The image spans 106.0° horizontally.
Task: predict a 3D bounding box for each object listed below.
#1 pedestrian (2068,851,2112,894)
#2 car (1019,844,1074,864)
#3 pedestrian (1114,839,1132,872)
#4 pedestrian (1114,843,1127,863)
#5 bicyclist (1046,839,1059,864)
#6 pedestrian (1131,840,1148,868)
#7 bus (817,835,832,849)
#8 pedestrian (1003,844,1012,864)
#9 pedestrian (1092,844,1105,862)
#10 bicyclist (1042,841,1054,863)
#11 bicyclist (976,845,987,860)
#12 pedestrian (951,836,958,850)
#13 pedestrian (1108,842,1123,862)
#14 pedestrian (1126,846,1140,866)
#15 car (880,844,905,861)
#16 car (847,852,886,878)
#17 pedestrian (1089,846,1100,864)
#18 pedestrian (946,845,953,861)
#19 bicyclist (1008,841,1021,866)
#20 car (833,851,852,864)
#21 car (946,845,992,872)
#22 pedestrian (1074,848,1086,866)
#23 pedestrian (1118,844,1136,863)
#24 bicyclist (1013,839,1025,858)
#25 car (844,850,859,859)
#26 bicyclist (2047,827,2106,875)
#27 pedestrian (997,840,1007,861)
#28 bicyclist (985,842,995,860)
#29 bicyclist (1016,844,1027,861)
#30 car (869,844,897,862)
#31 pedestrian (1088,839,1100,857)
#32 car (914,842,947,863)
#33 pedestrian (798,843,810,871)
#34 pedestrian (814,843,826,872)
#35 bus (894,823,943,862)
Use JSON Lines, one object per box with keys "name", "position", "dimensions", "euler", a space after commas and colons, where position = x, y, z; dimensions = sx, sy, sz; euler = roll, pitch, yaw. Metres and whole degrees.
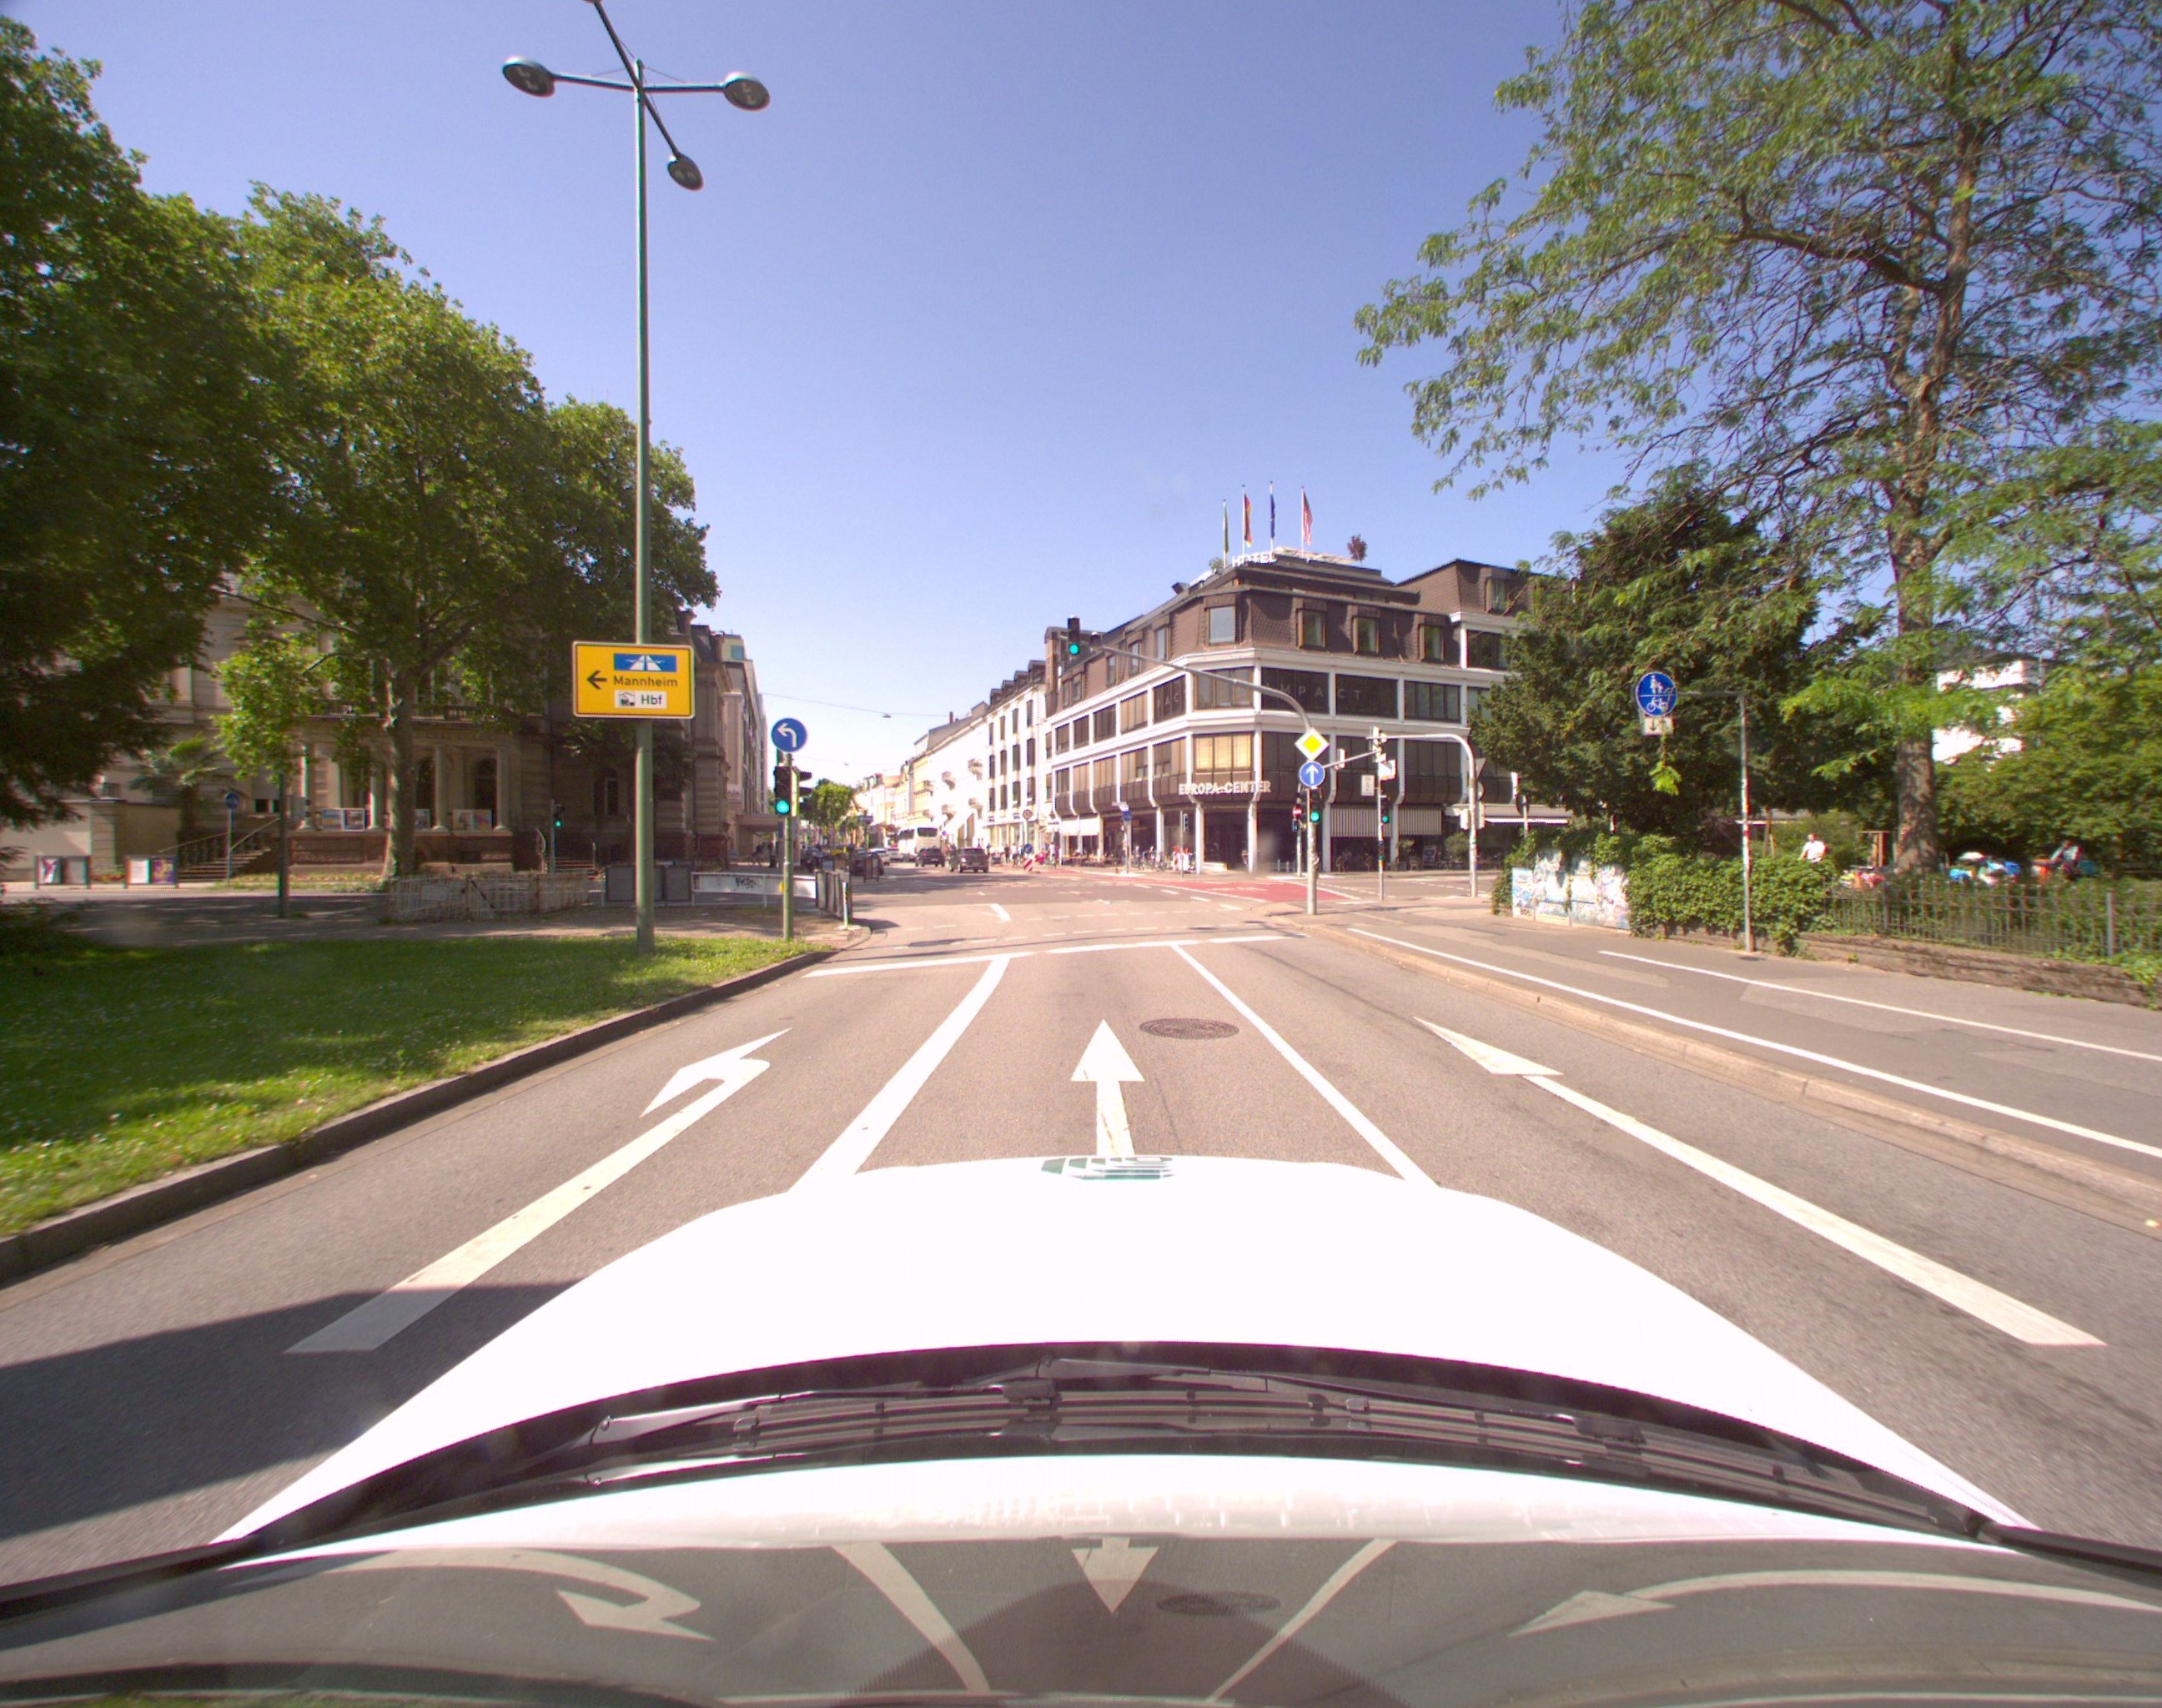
{"name": "pedestrian", "position": [30.483, 0.553, 24.617], "dimensions": [0.452, 1.270, 0.713], "euler": [0, 0, -9]}
{"name": "car", "position": [-2.789, 0.005, 65.471], "dimensions": [4.057, 1.495, 1.829], "euler": [-1, -1, -19]}
{"name": "pedestrian", "position": [2.368, 0.088, 46.279], "dimensions": [0.833, 1.835, 0.694], "euler": [-1, 0, -12]}
{"name": "pedestrian", "position": [2.834, -0.081, 58.165], "dimensions": [0.714, 1.396, 0.691], "euler": [-1, -1, -22]}
{"name": "bicyclist", "position": [-1.878, -0.145, 54.047], "dimensions": [0.695, 1.625, 0.832], "euler": [-1, 0, -12]}
{"name": "pedestrian", "position": [3.568, 0.026, 49.303], "dimensions": [0.833, 1.663, 0.694], "euler": [-1, -1, -12]}
{"name": "bus", "position": [-69.597, -3.271, 220.982], "dimensions": [2.782, 3.604, 8.904], "euler": [-1, 1, -23]}
{"name": "pedestrian", "position": [-6.216, -0.004, 69.081], "dimensions": [0.622, 1.719, 0.830], "euler": [0, 0, -18]}
{"name": "pedestrian", "position": [1.321, -0.061, 62.604], "dimensions": [0.880, 1.367, 0.533], "euler": [-1, 0, -22]}
{"name": "bicyclist", "position": [-2.325, -0.137, 57.145], "dimensions": [0.622, 1.529, 0.863], "euler": [0, 0, -20]}
{"name": "bicyclist", "position": [-8.927, -0.134, 72.857], "dimensions": [0.790, 1.378, 0.717], "euler": [0, 0, -22]}
{"name": "pedestrian", "position": [-14.694, -1.269, 94.258], "dimensions": [0.647, 1.617, 0.817], "euler": [-1, -1, -18]}
{"name": "pedestrian", "position": [2.479, -0.143, 58.926], "dimensions": [0.816, 1.396, 0.691], "euler": [-1, -1, -23]}
{"name": "pedestrian", "position": [3.573, 0.128, 56.204], "dimensions": [0.714, 1.396, 0.691], "euler": [-1, -1, -22]}
{"name": "car", "position": [-18.665, -0.143, 80.598], "dimensions": [1.840, 1.527, 3.972], "euler": [-2, 0, -21]}
{"name": "car", "position": [-12.943, 0.624, 49.065], "dimensions": [1.943, 1.354, 4.222], "euler": [-1, 1, -19]}
{"name": "pedestrian", "position": [1.034, 0.098, 62.985], "dimensions": [0.764, 1.367, 0.475], "euler": [-1, 0, -22]}
{"name": "pedestrian", "position": [-15.026, -0.068, 93.092], "dimensions": [0.575, 1.778, 1.014], "euler": [-1, -1, -18]}
{"name": "bicyclist", "position": [-4.716, -0.037, 57.585], "dimensions": [0.696, 1.673, 0.910], "euler": [2, 1, -19]}
{"name": "car", "position": [-28.702, 0.439, 97.916], "dimensions": [1.870, 1.441, 3.971], "euler": [-1, -1, -21]}
{"name": "car", "position": [-6.803, 0.308, 49.208], "dimensions": [1.840, 1.527, 3.970], "euler": [1, -1, -22]}
{"name": "pedestrian", "position": [-0.060, 0.218, 57.565], "dimensions": [0.712, 1.217, 0.694], "euler": [-1, -1, -12]}
{"name": "pedestrian", "position": [3.220, -0.037, 57.093], "dimensions": [0.899, 1.351, 1.097], "euler": [-1, -1, -22]}
{"name": "bicyclist", "position": [-4.561, -0.411, 59.876], "dimensions": [0.623, 1.355, 0.840], "euler": [0, 0, -22]}
{"name": "car", "position": [-35.857, 0.068, 126.965], "dimensions": [1.870, 1.441, 3.972], "euler": [-1, 1, -21]}
{"name": "bicyclist", "position": [33.237, -0.095, 27.199], "dimensions": [0.939, 1.575, 0.866], "euler": [-1, -1, -6]}
{"name": "pedestrian", "position": [-6.462, -0.292, 66.569], "dimensions": [0.622, 1.720, 0.830], "euler": [0, -1, -20]}
{"name": "bicyclist", "position": [-7.336, -0.239, 65.477], "dimensions": [0.623, 1.370, 0.775], "euler": [0, 0, -22]}
{"name": "bicyclist", "position": [-4.585, -0.102, 62.522], "dimensions": [0.623, 1.296, 0.860], "euler": [0, 0, -22]}
{"name": "car", "position": [-16.732, -0.072, 68.706], "dimensions": [1.870, 1.441, 3.971], "euler": [-1, -1, -21]}
{"name": "pedestrian", "position": [1.034, -0.489, 63.562], "dimensions": [0.747, 1.367, 0.580], "euler": [-1, 0, -22]}
{"name": "car", "position": [-11.588, -0.080, 62.604], "dimensions": [1.839, 1.527, 3.974], "euler": [-2, 0, -19]}
{"name": "pedestrian", "position": [-16.697, 0.207, 49.086], "dimensions": [0.549, 1.665, 0.933], "euler": [-1, -1, -12]}
{"name": "pedestrian", "position": [-15.665, 0.219, 48.876], "dimensions": [0.696, 1.695, 0.686], "euler": [-1, -1, -18]}
{"name": "bus", "position": [-17.189, -1.225, 85.426], "dimensions": [2.892, 3.742, 12.338], "euler": [1, 0, -21]}
